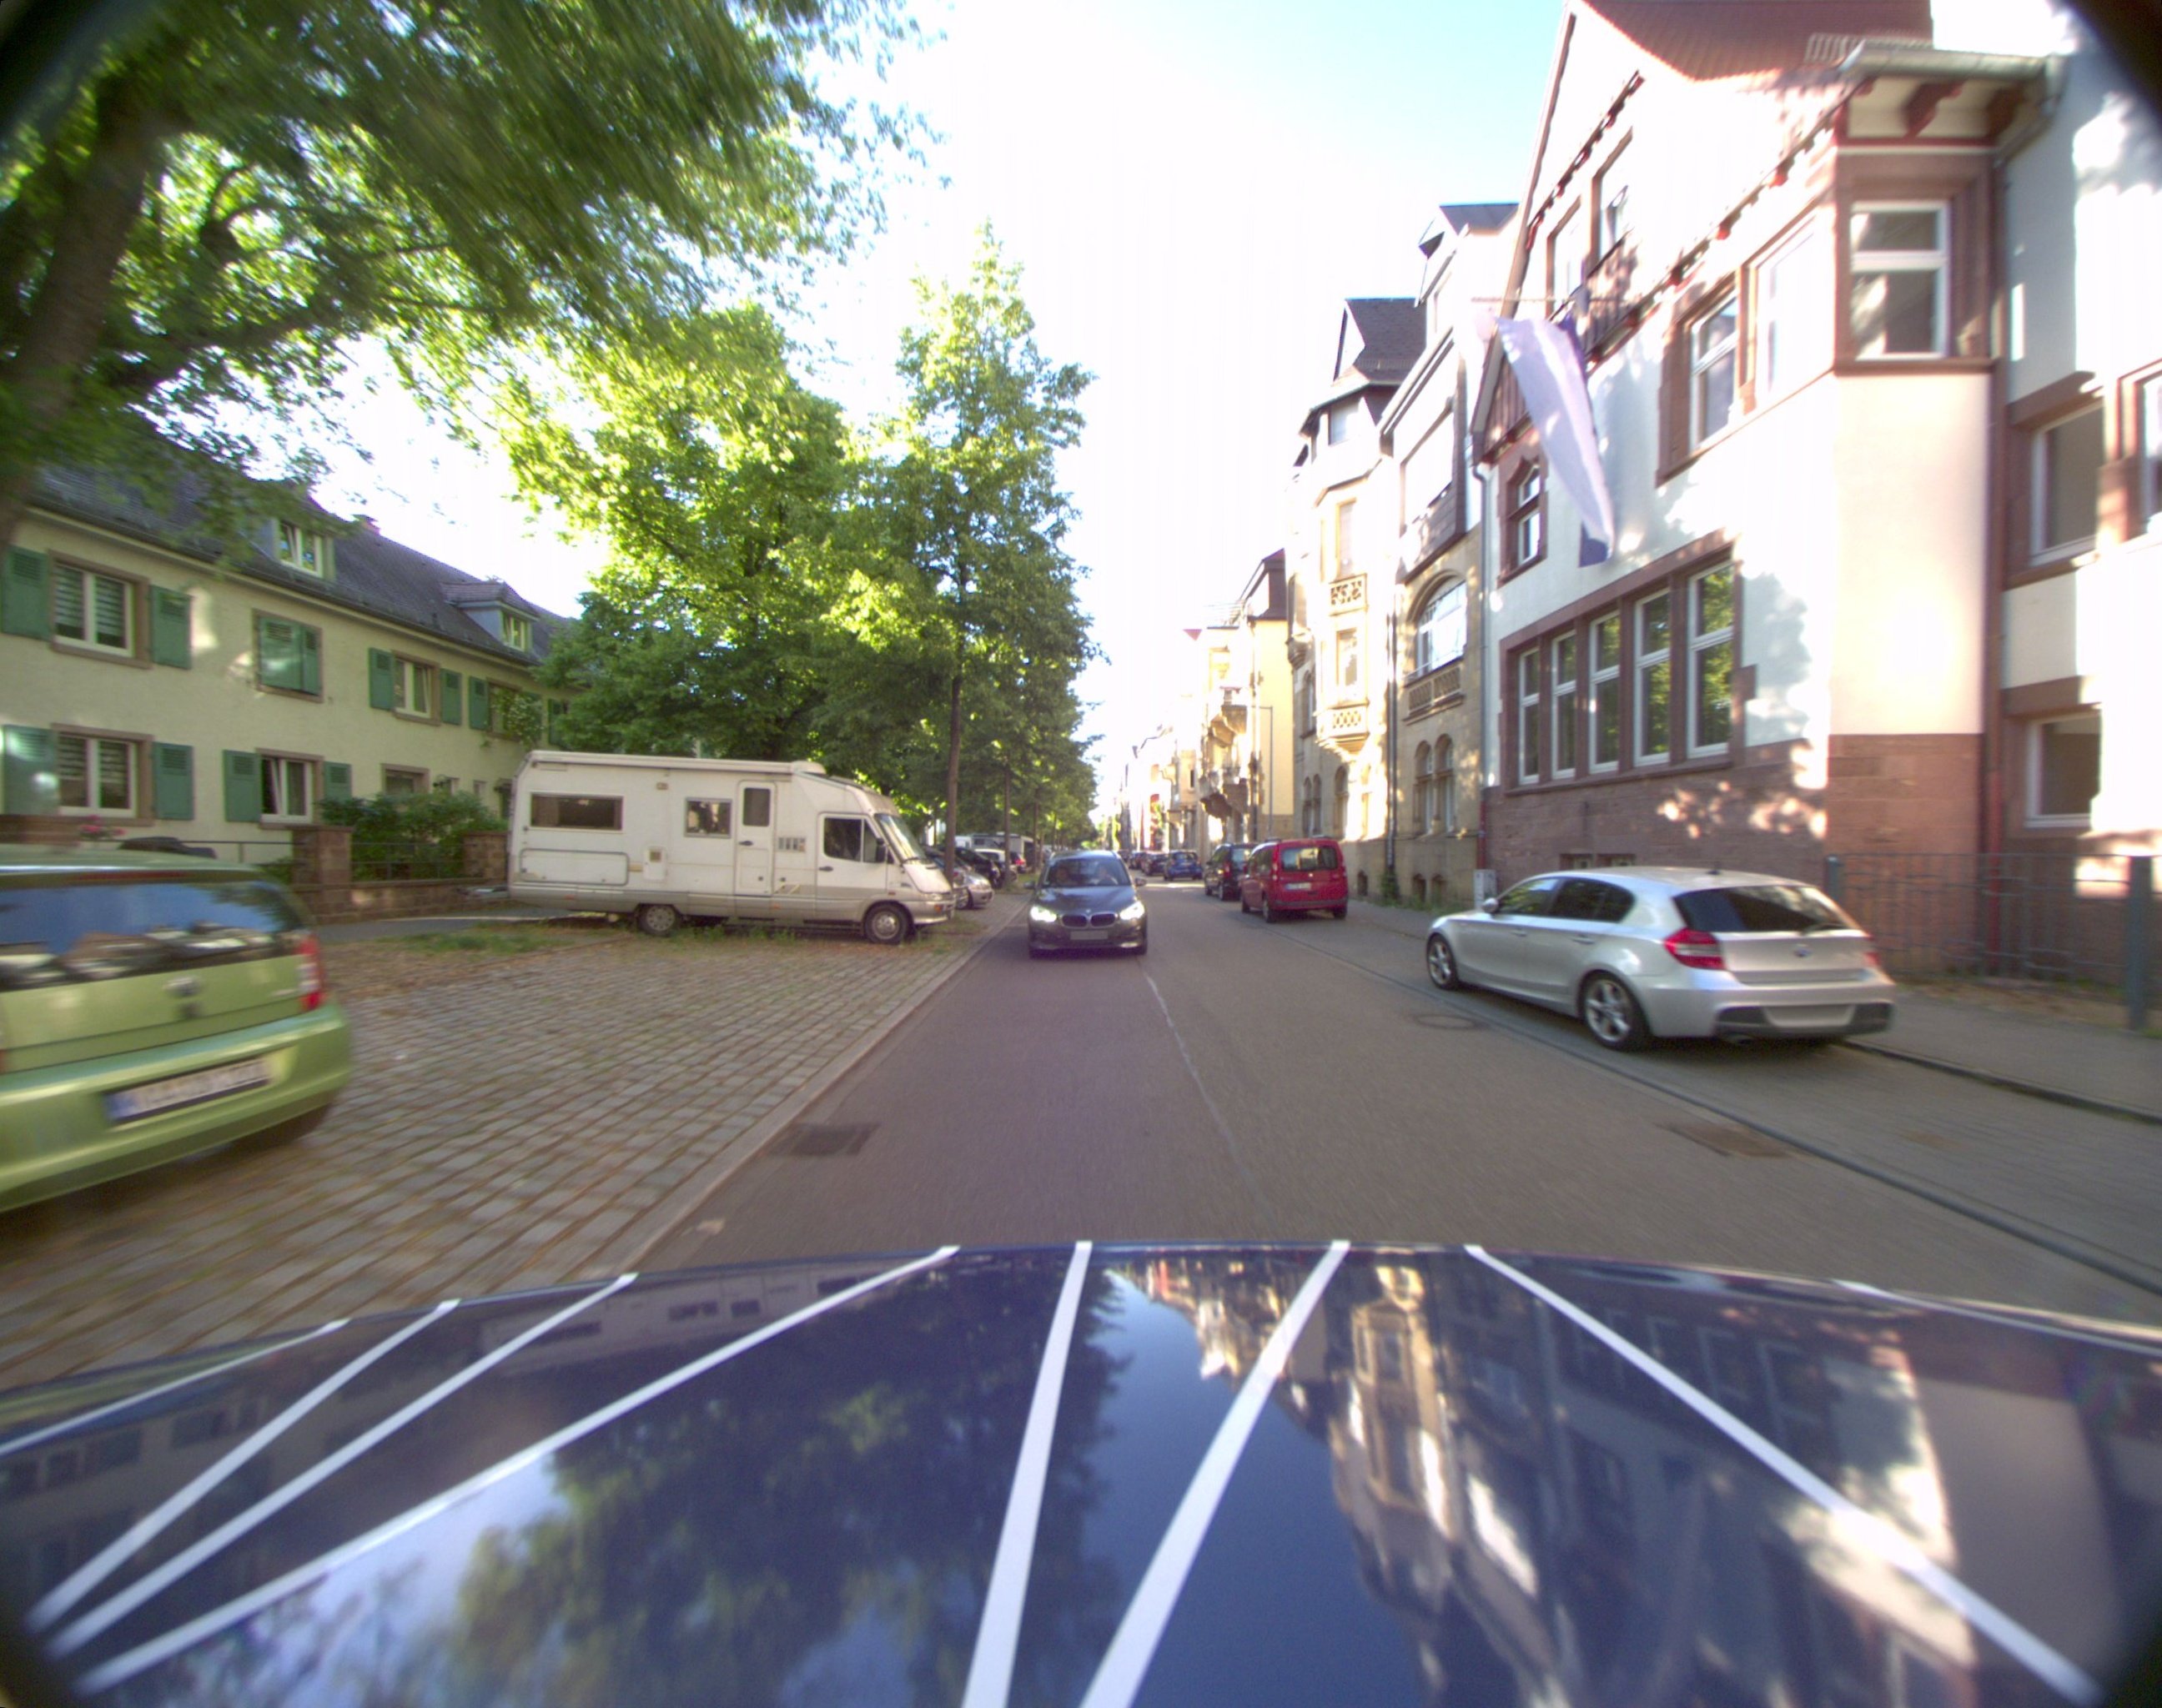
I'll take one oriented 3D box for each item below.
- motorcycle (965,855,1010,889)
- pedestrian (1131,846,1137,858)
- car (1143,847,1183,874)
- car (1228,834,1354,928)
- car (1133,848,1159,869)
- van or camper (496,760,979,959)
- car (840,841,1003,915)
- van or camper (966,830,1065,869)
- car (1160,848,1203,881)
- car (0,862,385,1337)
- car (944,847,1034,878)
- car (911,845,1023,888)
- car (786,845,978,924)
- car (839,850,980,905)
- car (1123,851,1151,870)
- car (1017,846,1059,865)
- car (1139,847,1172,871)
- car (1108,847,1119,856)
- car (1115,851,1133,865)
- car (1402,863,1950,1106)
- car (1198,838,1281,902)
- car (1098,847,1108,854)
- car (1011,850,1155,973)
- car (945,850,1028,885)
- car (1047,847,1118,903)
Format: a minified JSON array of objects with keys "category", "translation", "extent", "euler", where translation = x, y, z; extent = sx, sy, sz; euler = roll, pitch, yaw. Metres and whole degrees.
[{"category":"motorcycle","translation":[-3.471,0.659,28.079],"extent":[0.739,1.190,1.771],"euler":[-1,1,-44]},{"category":"pedestrian","translation":[7.288,-0.267,105.111],"extent":[0.779,1.693,1.010],"euler":[0,1,0]},{"category":"car","translation":[5.022,0.359,46.926],"extent":[1.905,1.430,4.541],"euler":[-4,1,0]},{"category":"car","translation":[4.827,0.544,18.105],"extent":[1.803,1.896,4.324],"euler":[-2,1,1]},{"category":"car","translation":[5.105,0.333,60.040],"extent":[1.747,1.457,3.998],"euler":[-2,1,1]},{"category":"van or camper","translation":[-5.453,0.068,13.040],"extent":[7.095,3.060,2.464],"euler":[0,1,-2]},{"category":"car","translation":[-4.183,0.602,20.315],"extent":[3.924,1.734,1.729],"euler":[2,1,0]},{"category":"van or camper","translation":[-4.918,-0.355,57.909],"extent":[7.266,2.888,2.427],"euler":[0,2,0]},{"category":"car","translation":[5.000,0.503,38.073],"extent":[1.688,1.500,2.861],"euler":[-4,1,1]},{"category":"car","translation":[-5.287,0.791,2.971],"extent":[3.598,1.496,1.678],"euler":[1,0,1]},{"category":"car","translation":[-4.789,0.431,40.047],"extent":[4.468,1.469,1.753],"euler":[2,1,1]},{"category":"car","translation":[-4.626,0.485,31.353],"extent":[4.344,1.599,1.927],"euler":[1,1,-1]},{"category":"car","translation":[-4.626,0.672,18.062],"extent":[3.971,1.590,1.903],"euler":[2,2,3]},{"category":"car","translation":[-5.064,0.689,22.868],"extent":[3.887,1.464,1.786],"euler":[2,1,-5]},{"category":"car","translation":[4.826,0.507,66.173],"extent":[1.893,1.448,4.510],"euler":[-4,0,-2]},{"category":"car","translation":[-4.177,0.163,74.493],"extent":[3.997,1.804,2.000],"euler":[0,1,1]},{"category":"car","translation":[5.170,0.300,52.945],"extent":[1.694,1.458,3.772],"euler":[-5,1,-2]},{"category":"car","translation":[5.546,-0.420,128.548],"extent":[1.702,1.372,3.999],"euler":[0,1,0]},{"category":"car","translation":[5.184,0.445,91.924],"extent":[1.862,1.595,3.999],"euler":[-3,1,0]},{"category":"car","translation":[4.747,0.869,6.988],"extent":[1.748,1.458,4.102],"euler":[-1,1,-2]},{"category":"car","translation":[5.045,0.456,24.777],"extent":[1.774,1.841,4.541],"euler":[-1,0,1]},{"category":"car","translation":[5.605,-0.854,193.060],"extent":[2.000,1.529,3.997],"euler":[-3,1,-8]},{"category":"car","translation":[0.060,0.791,12.868],"extent":[1.924,1.597,4.516],"euler":[-3,1,1]},{"category":"car","translation":[-4.150,0.572,33.782],"extent":[3.456,1.467,1.693],"euler":[1,1,0]},{"category":"car","translation":[-0.039,0.614,24.688],"extent":[1.999,1.584,4.261],"euler":[-2,0,-3]}]
